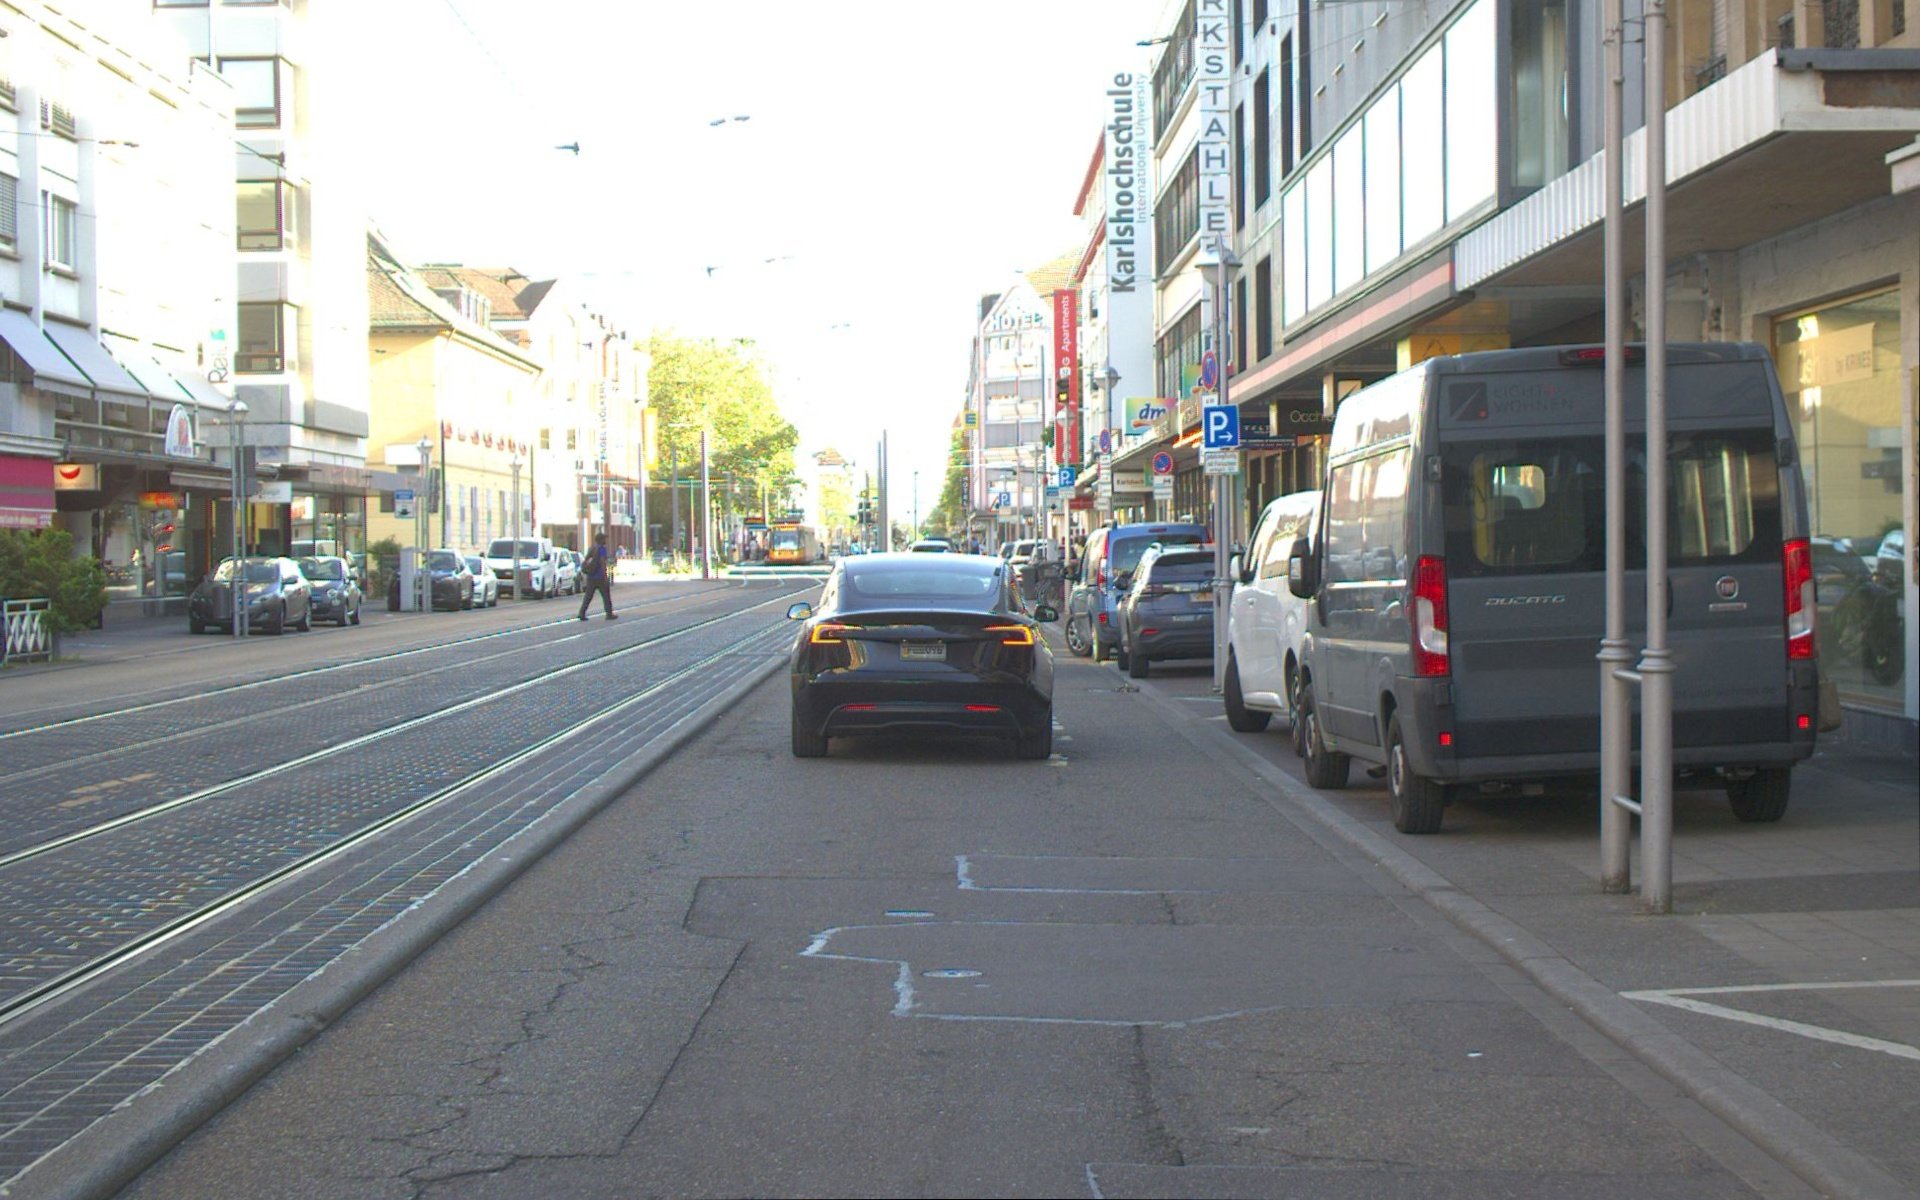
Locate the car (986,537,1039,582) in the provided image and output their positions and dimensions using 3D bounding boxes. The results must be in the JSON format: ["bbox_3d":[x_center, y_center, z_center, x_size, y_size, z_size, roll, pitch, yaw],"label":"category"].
[{"bbox_3d":[2.043,-1.580,135.374,1.993,1.747,4.000,0,0,0],"label":"car"}]

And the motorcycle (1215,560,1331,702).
[{"bbox_3d":[3.110,0.291,34.406,0.813,1.311,2.633,-4,0,0],"label":"motorcycle"}]

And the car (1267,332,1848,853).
[{"bbox_3d":[3.154,-0.088,19.427,2.171,2.453,5.362,-2,1,-1],"label":"car"}]

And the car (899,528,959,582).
[{"bbox_3d":[-1.070,-1.600,121.704,2.085,1.864,3.754,0,1,0],"label":"car"}]

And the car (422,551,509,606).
[{"bbox_3d":[-13.967,-0.630,97.258,1.770,1.503,3.972,-1,1,2],"label":"car"}]

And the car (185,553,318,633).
[{"bbox_3d":[-13.967,-0.156,67.942,1.770,1.503,3.864,-1,1,1],"label":"car"}]

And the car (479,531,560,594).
[{"bbox_3d":[-14.146,-1.210,110.632,2.009,1.954,4.725,-1,1,0],"label":"car"}]

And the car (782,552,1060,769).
[{"bbox_3d":[-0.259,0.377,25.283,1.869,1.422,4.364,0,1,0],"label":"car"}]

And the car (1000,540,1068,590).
[{"bbox_3d":[2.272,-1.076,106.877,1.993,1.537,4.000,0,0,0],"label":"car"}]

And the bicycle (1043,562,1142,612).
[{"bbox_3d":[2.963,-0.289,77.175,2.159,1.093,0.686,-1,1,-2],"label":"bicycle"}]

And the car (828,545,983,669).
[{"bbox_3d":[-0.678,0.071,41.630,1.761,1.414,4.355,0,0,-1],"label":"car"}]

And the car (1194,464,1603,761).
[{"bbox_3d":[3.187,0.040,26.015,2.158,1.920,4.618,-4,1,-3],"label":"car"}]

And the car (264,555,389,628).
[{"bbox_3d":[-13.613,-0.198,74.077,1.770,1.503,3.860,-1,1,3],"label":"car"}]

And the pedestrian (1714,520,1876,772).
[{"bbox_3d":[5.286,0.278,21.799,0.769,1.538,0.804,-2,1,0],"label":"pedestrian"}]

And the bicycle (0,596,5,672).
[{"bbox_3d":[-13.216,0.455,46.722,0.368,0.999,1.605,-1,1,-18],"label":"bicycle"}]

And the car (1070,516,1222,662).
[{"bbox_3d":[2.445,-0.182,45.984,1.821,1.864,3.754,0,1,0],"label":"car"}]

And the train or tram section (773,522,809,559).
[{"bbox_3d":[-12.387,-4.386,251.897,1.994,2.625,6.800,0,1,3],"label":"train or tram section"}]

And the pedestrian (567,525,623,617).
[{"bbox_3d":[-7.332,-0.586,69.041,0.772,1.842,0.827,0,1,30],"label":"pedestrian"}]

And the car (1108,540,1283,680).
[{"bbox_3d":[2.684,0.078,39.849,1.751,1.494,3.754,-1,1,0],"label":"car"}]

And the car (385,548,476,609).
[{"bbox_3d":[-14.032,-0.579,91.298,1.718,1.566,3.849,-1,1,2],"label":"car"}]

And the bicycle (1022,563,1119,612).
[{"bbox_3d":[2.509,-0.284,78.062,2.159,1.093,0.686,-1,1,-2],"label":"bicycle"}]
